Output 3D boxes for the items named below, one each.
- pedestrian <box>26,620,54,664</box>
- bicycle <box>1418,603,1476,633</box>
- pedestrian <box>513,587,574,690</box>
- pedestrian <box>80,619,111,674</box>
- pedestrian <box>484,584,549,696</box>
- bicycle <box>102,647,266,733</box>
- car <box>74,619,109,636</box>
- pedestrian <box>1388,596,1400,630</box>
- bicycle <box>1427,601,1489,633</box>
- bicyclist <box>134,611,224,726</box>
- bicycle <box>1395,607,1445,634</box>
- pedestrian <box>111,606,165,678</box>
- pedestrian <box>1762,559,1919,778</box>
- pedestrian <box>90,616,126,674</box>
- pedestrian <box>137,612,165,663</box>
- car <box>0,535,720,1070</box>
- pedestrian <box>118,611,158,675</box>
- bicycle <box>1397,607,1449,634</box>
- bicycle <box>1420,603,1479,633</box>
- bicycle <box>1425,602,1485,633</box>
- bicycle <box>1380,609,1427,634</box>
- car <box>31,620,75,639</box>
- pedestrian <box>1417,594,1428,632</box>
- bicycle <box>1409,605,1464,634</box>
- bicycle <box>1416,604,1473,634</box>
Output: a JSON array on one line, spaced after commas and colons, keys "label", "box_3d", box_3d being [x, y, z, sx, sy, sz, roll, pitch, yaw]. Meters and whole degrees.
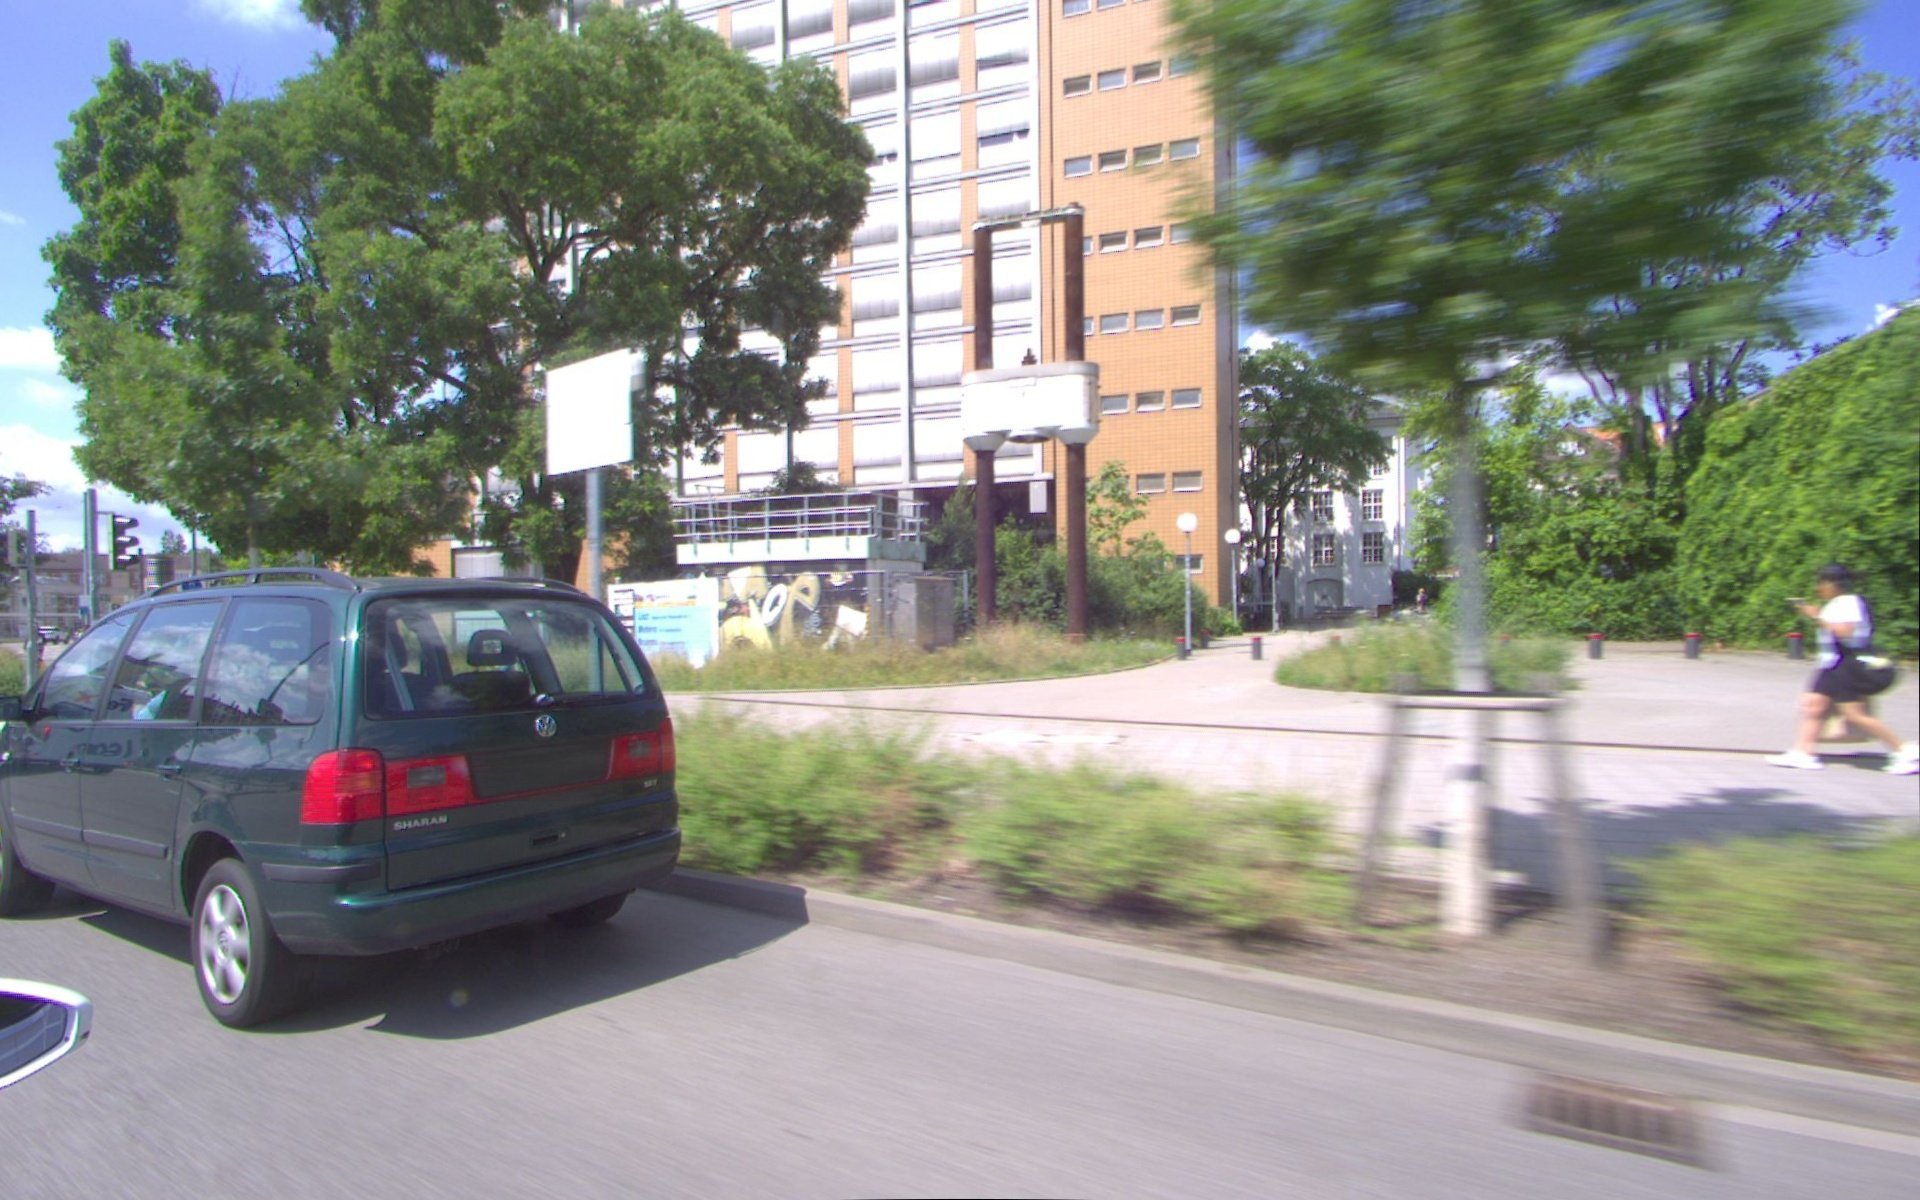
[{"label": "pedestrian", "box_3d": [-34.412, 1.575, 37.474, 0.750, 1.610, 0.754, 1, -2, -43]}, {"label": "bicycle", "box_3d": [22.683, 0.863, 46.679, 2.326, 1.364, 0.637, -1, -2, 17]}, {"label": "pedestrian", "box_3d": [-7.383, 0.669, 17.758, 0.600, 1.776, 0.748, 0, 2, 31]}, {"label": "pedestrian", "box_3d": [-27.187, 1.454, 31.488, 0.645, 1.647, 0.767, -4, 2, -42]}, {"label": "pedestrian", "box_3d": [-7.448, 0.649, 16.830, 0.600, 1.827, 0.748, 0, 2, 31]}, {"label": "bicycle", "box_3d": [-11.547, 1.315, 14.966, 0.583, 1.064, 1.805, -2, 1, 31]}, {"label": "car", "box_3d": [-86.949, 2.709, 100.292, 1.860, 1.663, 3.936, 0, -1, -30]}, {"label": "pedestrian", "box_3d": [23.785, 0.714, 54.913, 0.498, 1.874, 0.495, -1, -1, 15]}, {"label": "bicycle", "box_3d": [21.863, 0.764, 44.015, 2.326, 1.364, 0.637, -1, -2, 17]}, {"label": "bicyclist", "box_3d": [-11.601, 0.998, 14.893, 0.571, 1.623, 0.826, -2, 2, 31]}, {"label": "bicycle", "box_3d": [24.180, 1.088, 52.656, 2.326, 1.364, 0.637, -1, -2, 17]}, {"label": "pedestrian", "box_3d": [-22.094, 1.123, 26.921, 0.768, 1.846, 0.755, -1, 3, 26]}, {"label": "pedestrian", "box_3d": [6.953, 0.506, 7.803, 0.866, 1.618, 0.751, 0, 2, 17]}, {"label": "pedestrian", "box_3d": [-24.616, 1.302, 28.933, 0.717, 1.646, 0.586, -1, -2, 32]}, {"label": "pedestrian", "box_3d": [-29.892, 1.391, 36.993, 0.751, 1.844, 0.667, 1, -2, -45]}, {"label": "car", "box_3d": [-3.483, 0.729, 5.224, 4.384, 1.744, 1.792, -1, -3, 32]}, {"label": "pedestrian", "box_3d": [-24.183, 1.259, 29.454, 0.629, 1.844, 0.754, -1, -2, 32]}, {"label": "bicycle", "box_3d": [23.929, 1.056, 51.792, 2.326, 1.364, 0.637, -1, -2, 17]}, {"label": "bicycle", "box_3d": [22.477, 0.839, 46.030, 2.326, 1.364, 0.637, -1, -2, 17]}, {"label": "bicycle", "box_3d": [22.055, 0.788, 44.652, 2.326, 1.364, 0.637, -1, -2, 17]}, {"label": "bicycle", "box_3d": [25.014, 1.235, 56.523, 2.326, 1.364, 0.637, -1, -2, 17]}, {"label": "car", "box_3d": [-82.475, 2.649, 91.109, 1.858, 1.663, 3.941, 0, -1, -26]}, {"label": "pedestrian", "box_3d": [23.137, 0.649, 50.091, 0.409, 1.874, 0.364, -1, -1, 17]}, {"label": "bicycle", "box_3d": [23.417, 0.959, 49.254, 2.326, 1.364, 0.637, -1, -2, 17]}, {"label": "bicycle", "box_3d": [22.878, 0.888, 47.346, 2.326, 1.364, 0.637, -1, -2, 17]}]
